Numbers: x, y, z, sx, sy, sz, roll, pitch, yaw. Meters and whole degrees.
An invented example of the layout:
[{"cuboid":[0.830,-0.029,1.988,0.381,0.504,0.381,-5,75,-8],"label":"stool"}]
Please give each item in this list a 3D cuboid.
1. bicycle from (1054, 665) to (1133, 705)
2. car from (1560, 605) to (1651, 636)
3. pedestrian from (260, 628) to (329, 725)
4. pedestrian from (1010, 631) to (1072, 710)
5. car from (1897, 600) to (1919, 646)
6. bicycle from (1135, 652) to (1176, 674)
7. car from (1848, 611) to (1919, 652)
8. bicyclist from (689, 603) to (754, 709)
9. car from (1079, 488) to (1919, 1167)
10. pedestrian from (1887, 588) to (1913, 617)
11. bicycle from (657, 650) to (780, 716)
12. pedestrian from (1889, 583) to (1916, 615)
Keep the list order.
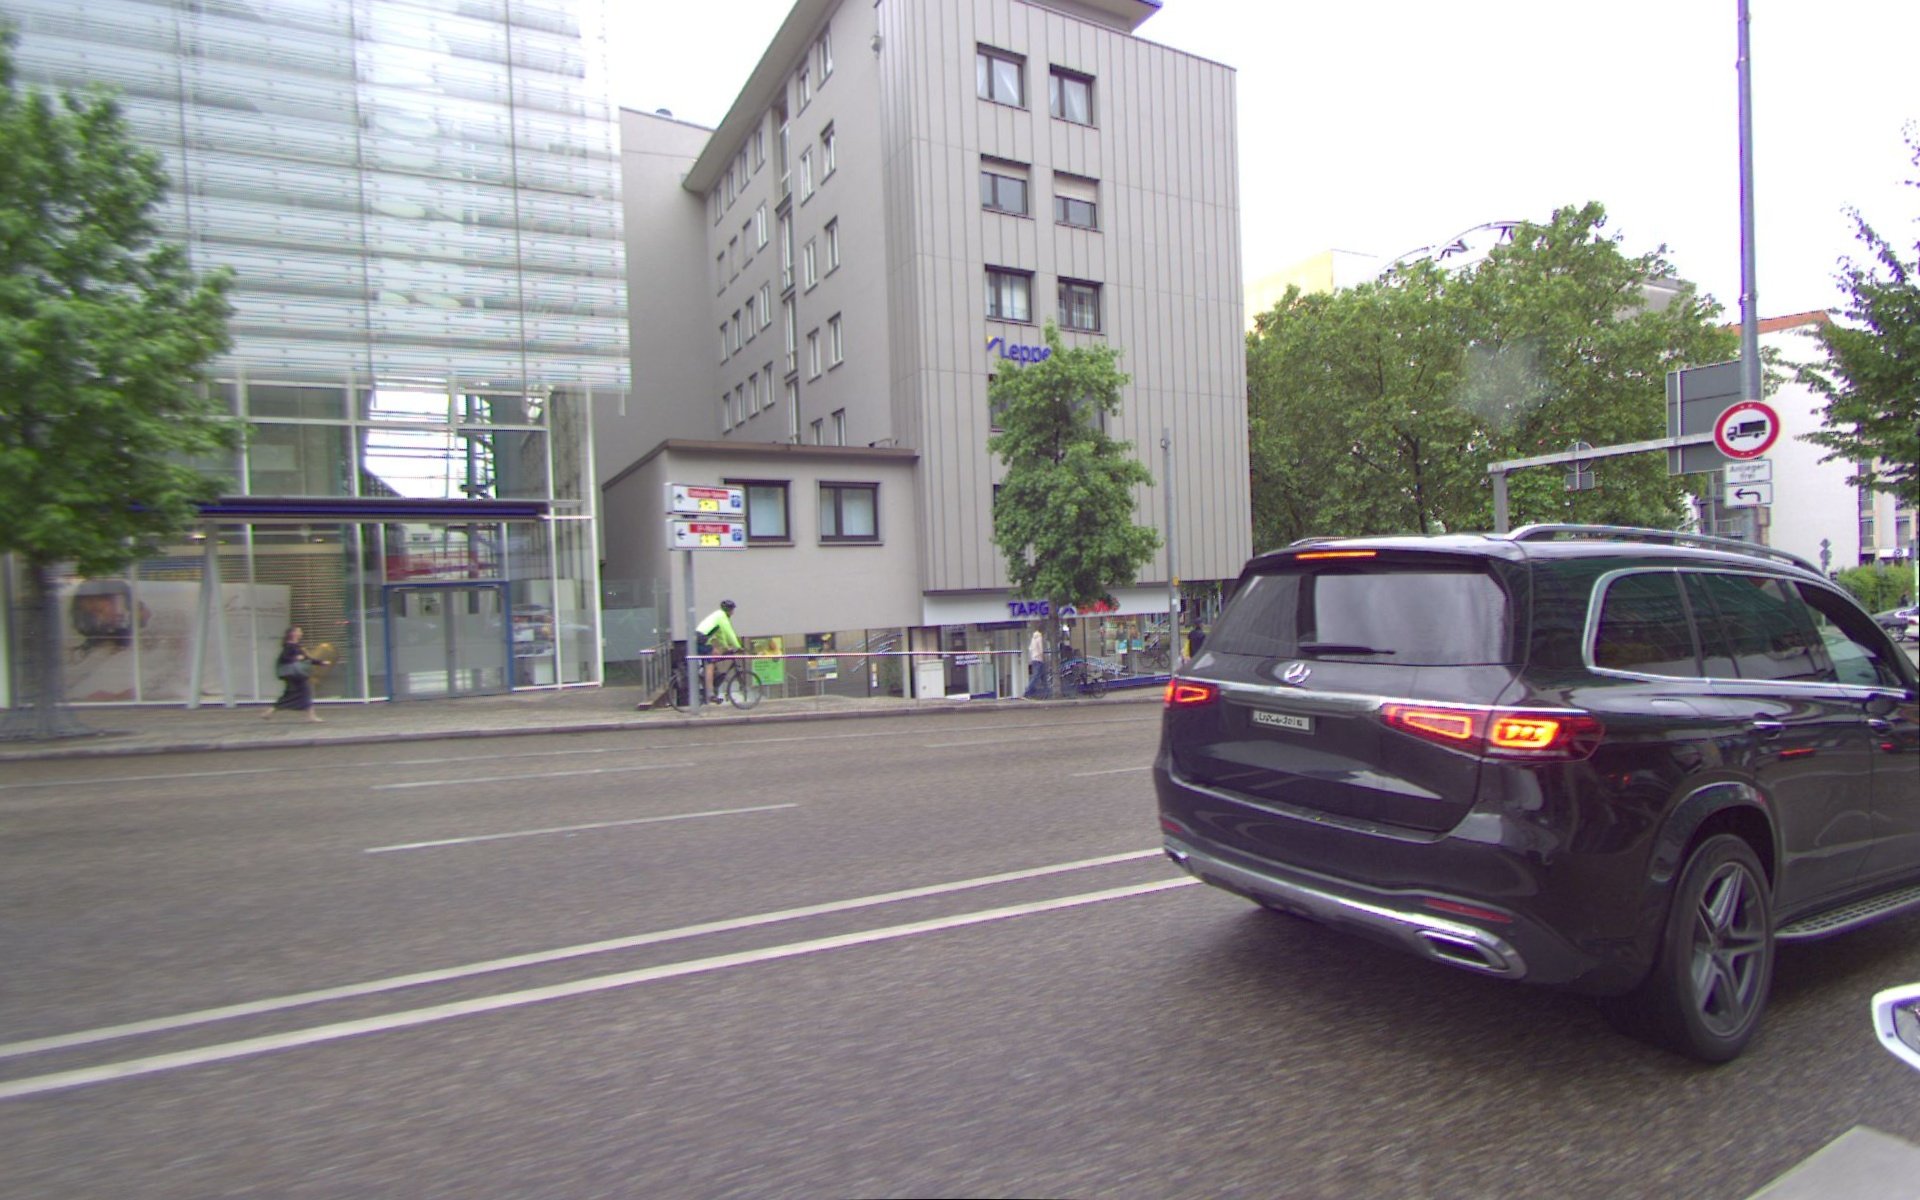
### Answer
[{"cuboid":[4.104,2.576,30.769,2.642,1.101,0.608,1,-1,-33],"label":"bicycle"},{"cuboid":[35.703,1.136,55.626,1.763,1.638,3.958,1,-1,-43],"label":"car"},{"cuboid":[-10.595,1.201,16.015,0.833,1.475,0.650,0,-2,-25],"label":"pedestrian"},{"cuboid":[1.861,1.608,23.174,1.028,1.745,0.986,0,-2,-35],"label":"pedestrian"},{"cuboid":[39.339,0.936,38.415,1.986,1.782,5.021,1,0,-44],"label":"car"},{"cuboid":[8.897,2.845,45.693,0.741,0.903,1.869,1,-1,-34],"label":"bicycle"},{"cuboid":[40.691,1.361,42.473,4.633,1.665,1.776,1,0,44],"label":"car"},{"cuboid":[-4.294,1.003,18.112,0.980,1.854,0.665,1,-3,-33],"label":"bicyclist"},{"cuboid":[3.085,0.609,4.857,4.738,1.841,2.076,0,1,-32],"label":"car"},{"cuboid":[53.762,0.164,57.460,0.907,1.629,0.564,-1,-2,17],"label":"pedestrian"},{"cuboid":[-4.325,1.462,18.070,2.049,1.114,0.674,1,-2,-34],"label":"bicycle"},{"cuboid":[54.881,-0.050,58.487,0.888,1.826,0.628,-1,-2,17],"label":"pedestrian"}]
